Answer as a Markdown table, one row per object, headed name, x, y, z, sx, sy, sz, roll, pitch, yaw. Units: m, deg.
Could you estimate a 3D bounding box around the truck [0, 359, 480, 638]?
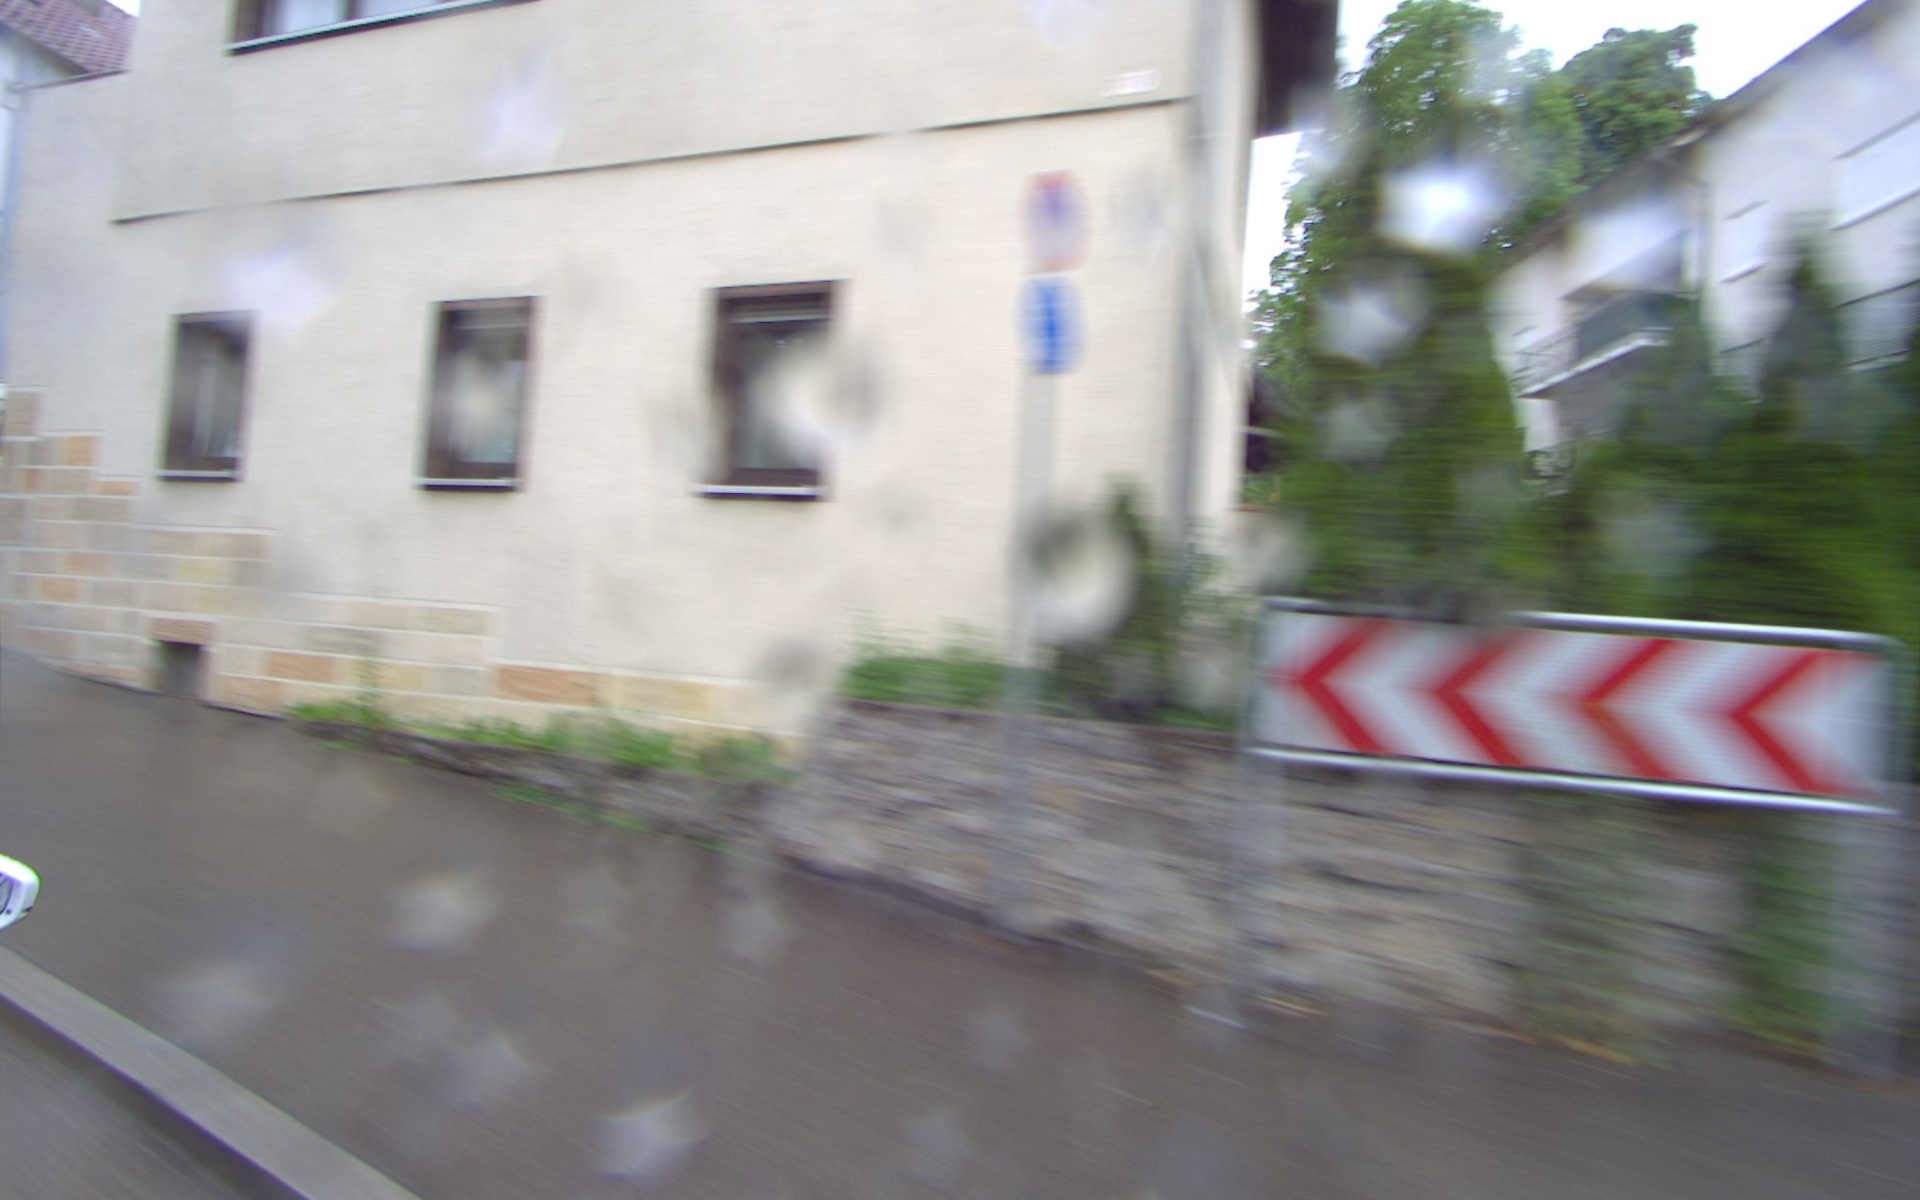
| name | x | y | z | sx | sy | sz | roll | pitch | yaw |
| --- | --- | --- | --- | --- | --- | --- | --- | --- | --- |
| truck | -9.699 | -1.104 | 12.883 | 2.100 | 2.738 | 6.975 | 8 | 2 | 16 |
